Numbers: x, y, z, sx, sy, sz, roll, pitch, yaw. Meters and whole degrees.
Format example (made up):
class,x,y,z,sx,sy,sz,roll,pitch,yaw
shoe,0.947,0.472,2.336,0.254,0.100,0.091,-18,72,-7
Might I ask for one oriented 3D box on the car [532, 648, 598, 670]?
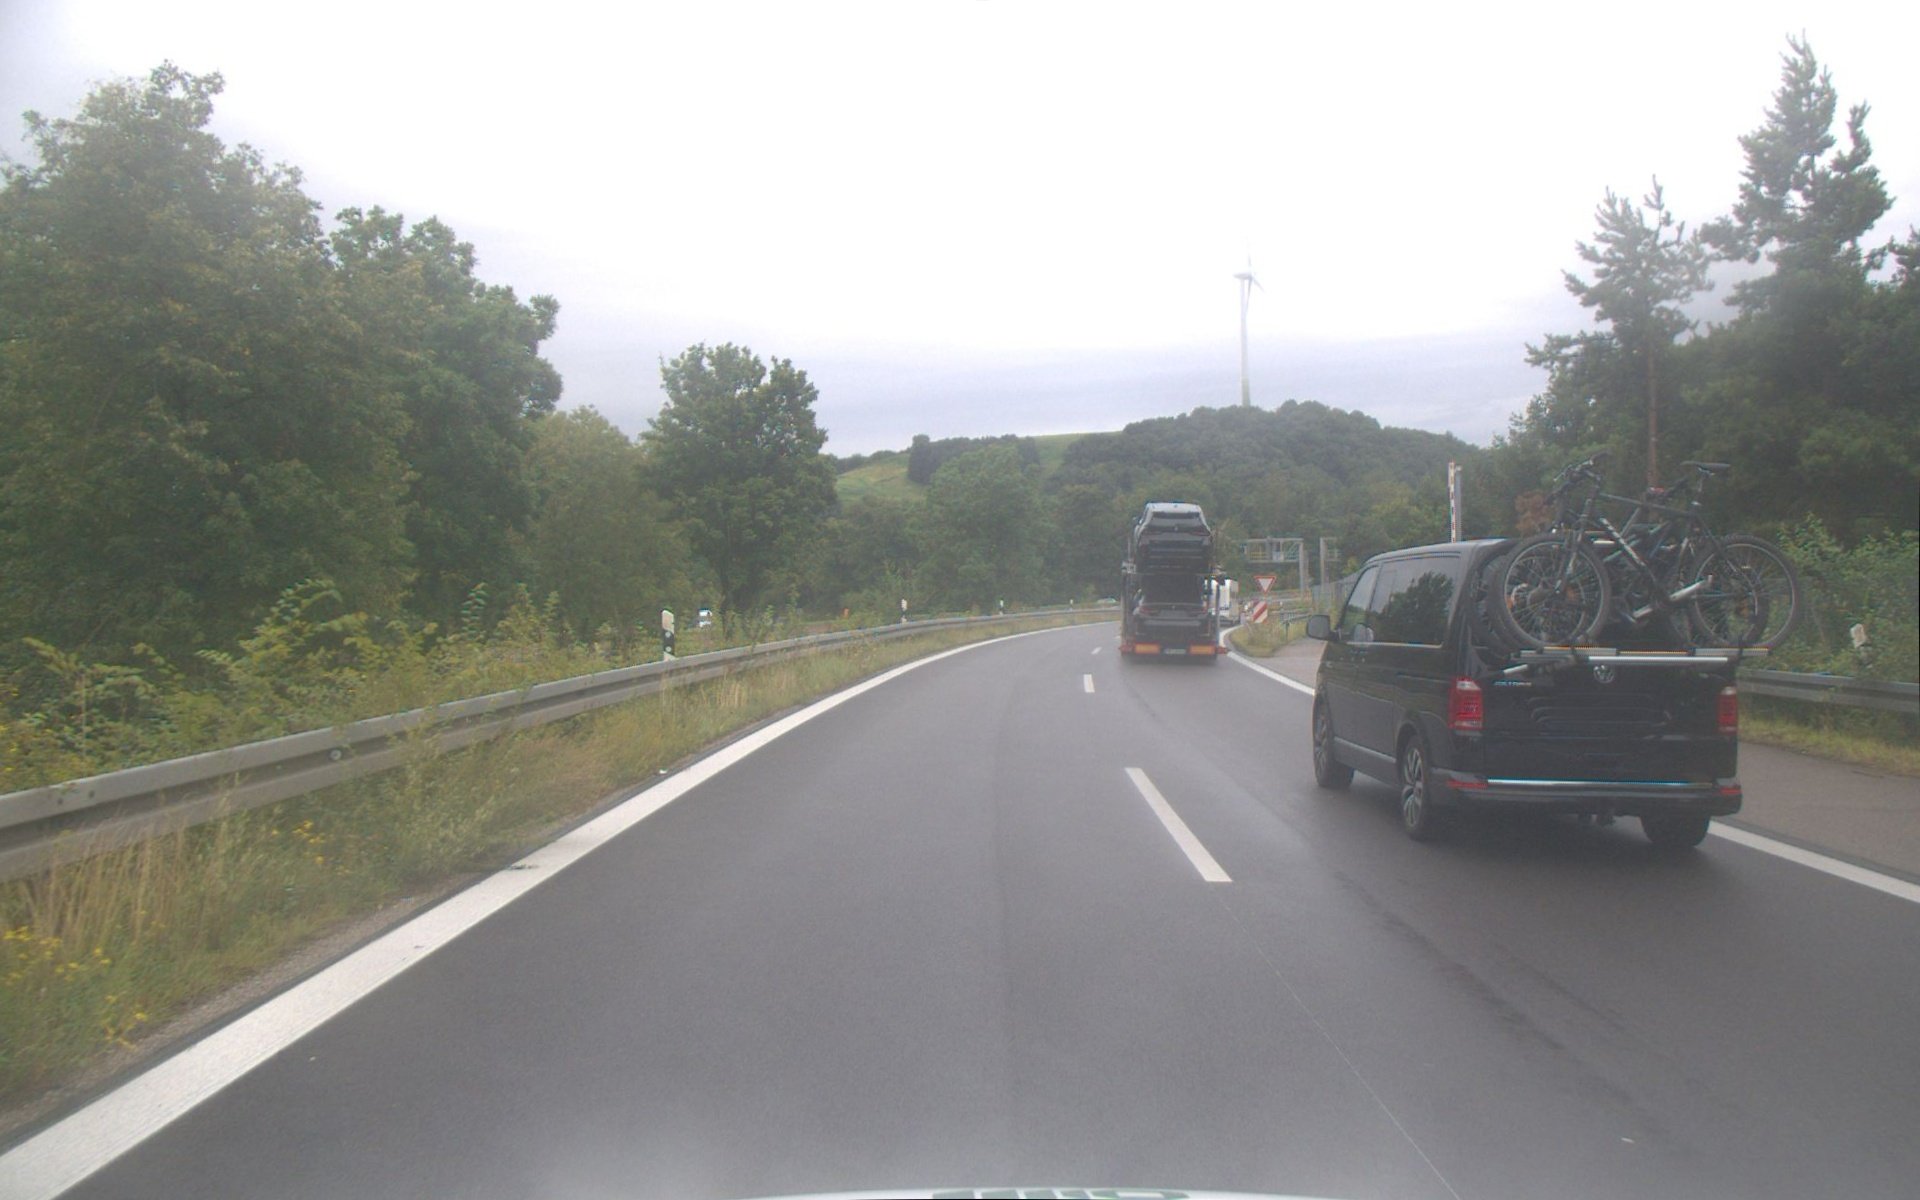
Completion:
class,x,y,z,sx,sy,sz,roll,pitch,yaw
car,-34.188,5.094,143.184,5.280,1.747,1.969,1,-1,-43

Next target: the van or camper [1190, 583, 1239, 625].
class,x,y,z,sx,sy,sz,roll,pitch,yaw
van or camper,14.289,0.224,92.660,2.048,2.270,4.433,1,0,17

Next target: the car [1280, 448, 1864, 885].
class,x,y,z,sx,sy,sz,roll,pitch,yaw
car,3.873,0.340,11.885,2.066,2.304,5.897,2,0,1

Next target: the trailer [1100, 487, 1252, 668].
class,x,y,z,sx,sy,sz,roll,pitch,yaw
trailer,5.635,-0.516,43.962,3.376,4.069,12.035,1,0,6

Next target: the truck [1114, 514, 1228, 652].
class,x,y,z,sx,sy,sz,roll,pitch,yaw
truck,6.980,-0.523,55.402,3.322,4.069,10.854,1,0,6
